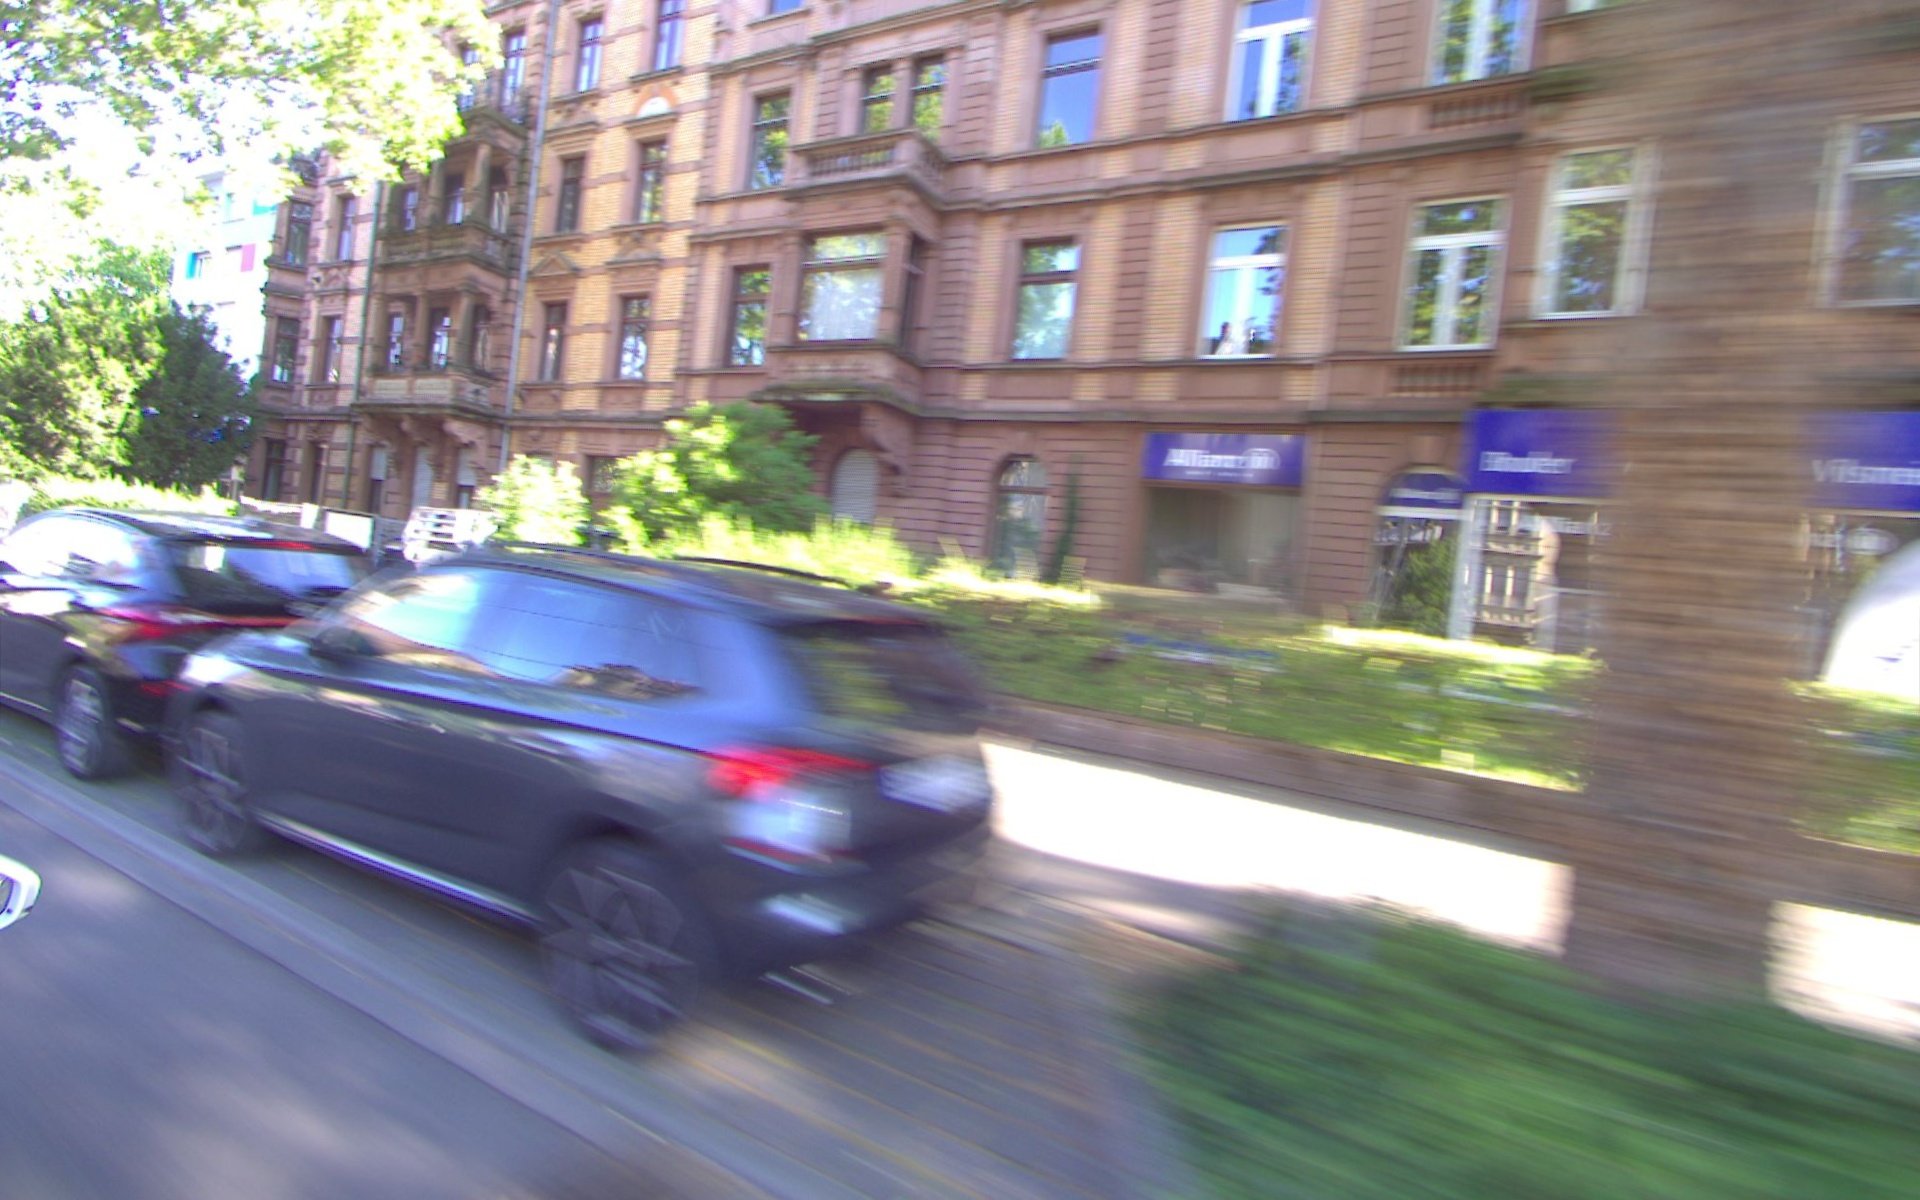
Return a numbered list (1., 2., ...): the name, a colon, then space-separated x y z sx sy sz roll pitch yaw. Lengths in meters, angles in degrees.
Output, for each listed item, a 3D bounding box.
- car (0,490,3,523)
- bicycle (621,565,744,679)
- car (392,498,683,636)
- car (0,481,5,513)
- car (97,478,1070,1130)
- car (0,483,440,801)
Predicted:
1. car: -44.211 -4.355 44.541 4.029 1.448 1.569 7 0 30
2. bicycle: -3.588 0.261 12.938 1.739 1.264 0.338 7 -2 35
3. car: -7.533 -0.496 18.426 1.882 2.039 4.576 7 1 30
4. car: -56.100 -6.099 56.808 4.717 1.756 1.862 8 1 31
5. car: -1.897 0.471 4.527 4.342 1.607 1.618 7 1 30
6. car: -5.449 0.096 6.713 3.982 1.518 1.553 7 1 31
